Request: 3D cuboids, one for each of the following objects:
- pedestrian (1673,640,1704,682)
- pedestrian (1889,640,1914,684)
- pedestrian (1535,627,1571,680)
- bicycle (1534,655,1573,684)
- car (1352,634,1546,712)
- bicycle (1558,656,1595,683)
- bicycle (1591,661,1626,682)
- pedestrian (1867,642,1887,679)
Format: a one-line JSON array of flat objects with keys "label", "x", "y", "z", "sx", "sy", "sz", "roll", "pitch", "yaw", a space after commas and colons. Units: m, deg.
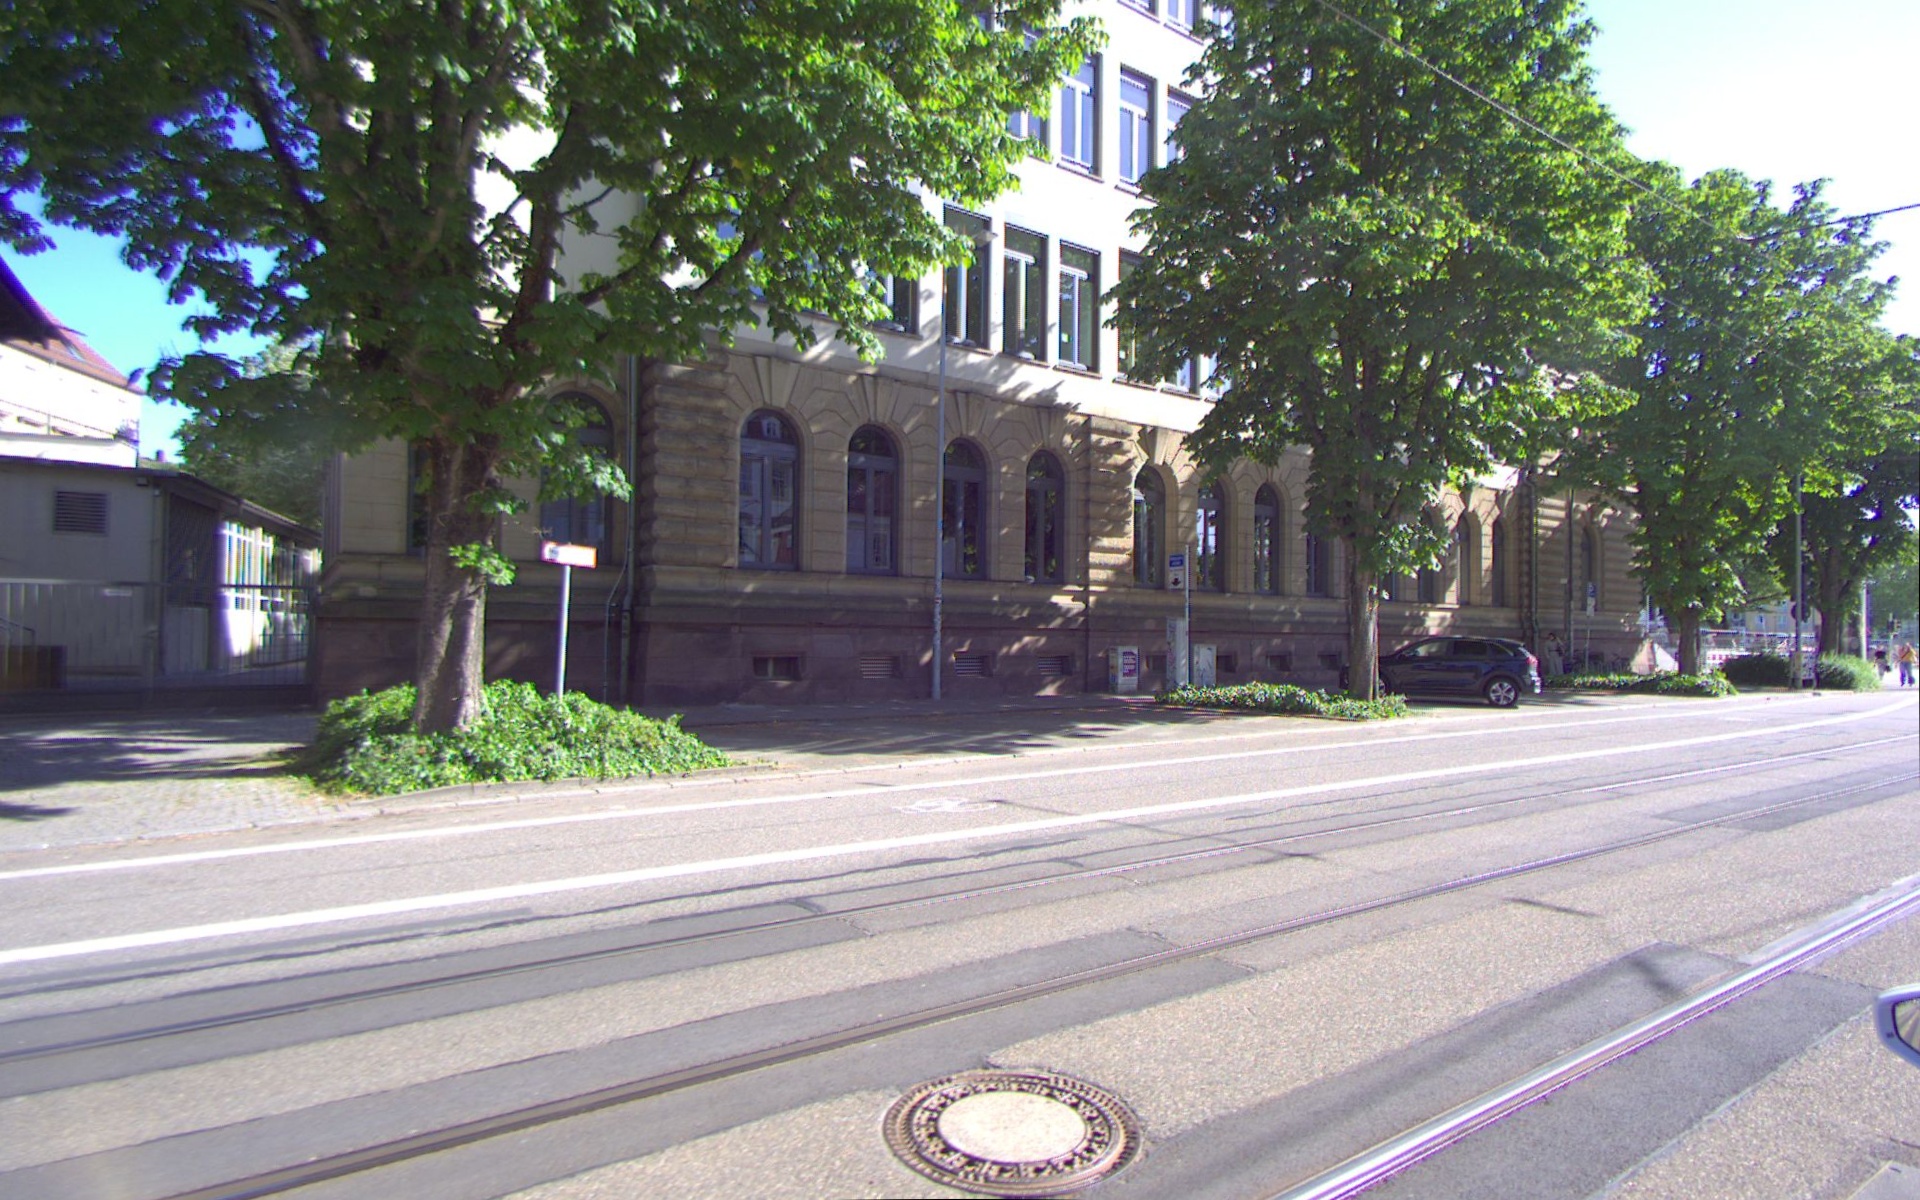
[{"label": "pedestrian", "x": 27.408, "y": 2.288, "z": 37.816, "sx": 0.908, "sy": 1.524, "sz": 0.703, "roll": 0, "pitch": -2, "yaw": 34}, {"label": "pedestrian", "x": 37.446, "y": 2.450, "z": 39.951, "sx": 0.628, "sy": 1.719, "sz": 0.815, "roll": -2, "pitch": -4, "yaw": 41}, {"label": "pedestrian", "x": 18.973, "y": 1.701, "z": 32.152, "sx": 0.752, "sy": 1.657, "sz": 0.696, "roll": 2, "pitch": 1, "yaw": -34}, {"label": "bicycle", "x": 20.117, "y": 2.356, "z": 34.036, "sx": 1.602, "sy": 0.929, "sz": 0.478, "roll": 2, "pitch": -2, "yaw": -34}, {"label": "car", "x": 11.416, "y": 1.637, "z": 23.554, "sx": 3.927, "sy": 1.570, "sz": 1.875, "roll": 1, "pitch": -1, "yaw": 29}, {"label": "bicycle", "x": 21.523, "y": 2.425, "z": 35.042, "sx": 1.602, "sy": 0.929, "sz": 0.478, "roll": 2, "pitch": -2, "yaw": -34}, {"label": "bicycle", "x": 23.638, "y": 2.616, "z": 36.601, "sx": 1.602, "sy": 0.734, "sz": 0.478, "roll": 2, "pitch": -2, "yaw": -34}, {"label": "pedestrian", "x": 43.656, "y": 2.861, "z": 47.826, "sx": 0.674, "sy": 1.719, "sz": 0.613, "roll": 2, "pitch": -2, "yaw": -42}]
